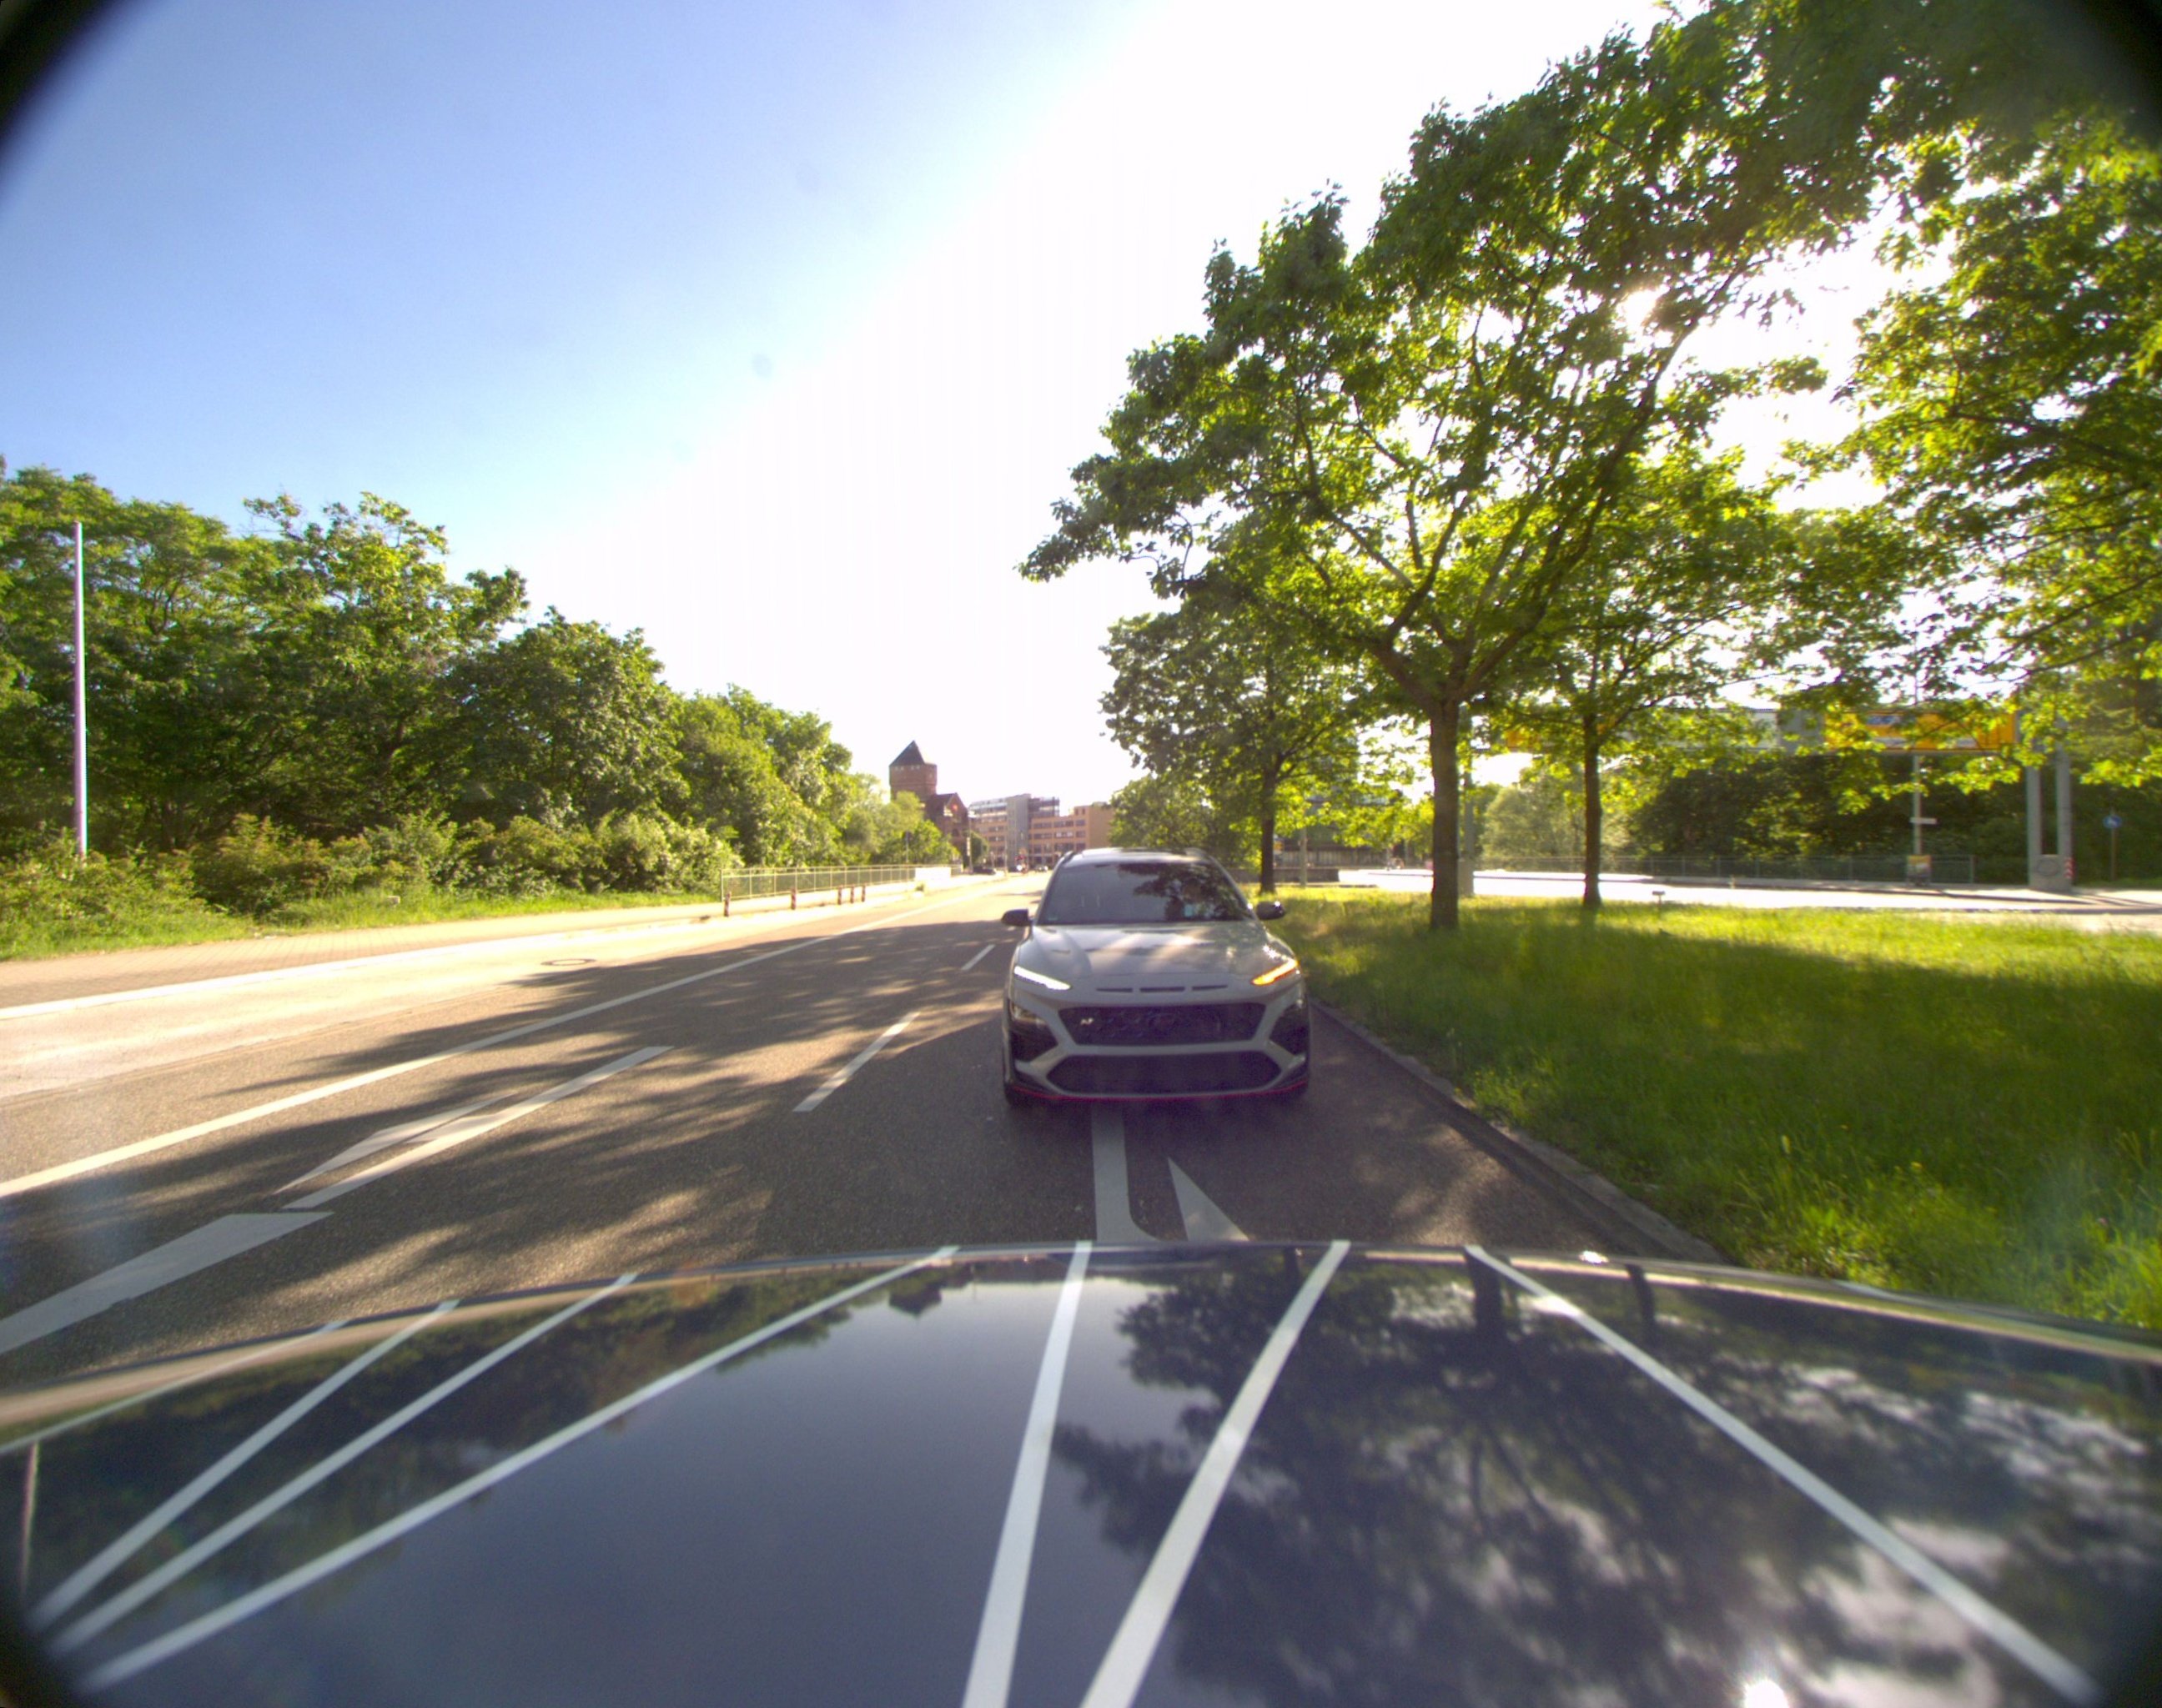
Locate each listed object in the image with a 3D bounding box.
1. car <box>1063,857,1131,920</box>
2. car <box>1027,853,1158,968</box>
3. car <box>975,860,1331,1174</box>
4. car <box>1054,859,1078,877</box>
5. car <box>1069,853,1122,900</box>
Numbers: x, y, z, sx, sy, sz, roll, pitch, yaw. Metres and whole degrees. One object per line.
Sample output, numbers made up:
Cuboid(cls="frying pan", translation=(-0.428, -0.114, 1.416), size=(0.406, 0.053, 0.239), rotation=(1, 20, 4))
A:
Cuboid(cls="car", translation=(0.474, 0.888, 21.218), size=(1.678, 1.499, 3.949), rotation=(-2, 1, 2))
Cuboid(cls="car", translation=(0.360, 0.821, 12.967), size=(1.744, 1.539, 4.002), rotation=(-5, 0, 6))
Cuboid(cls="car", translation=(0.412, 0.849, 5.846), size=(1.780, 1.542, 3.980), rotation=(-1, 0, 1))
Cuboid(cls="car", translation=(-1.444, 1.345, 72.488), size=(1.999, 1.595, 4.209), rotation=(-1, 0, -6))
Cuboid(cls="car", translation=(0.565, 0.787, 28.956), size=(1.833, 1.637, 4.000), rotation=(-1, 0, 1))
